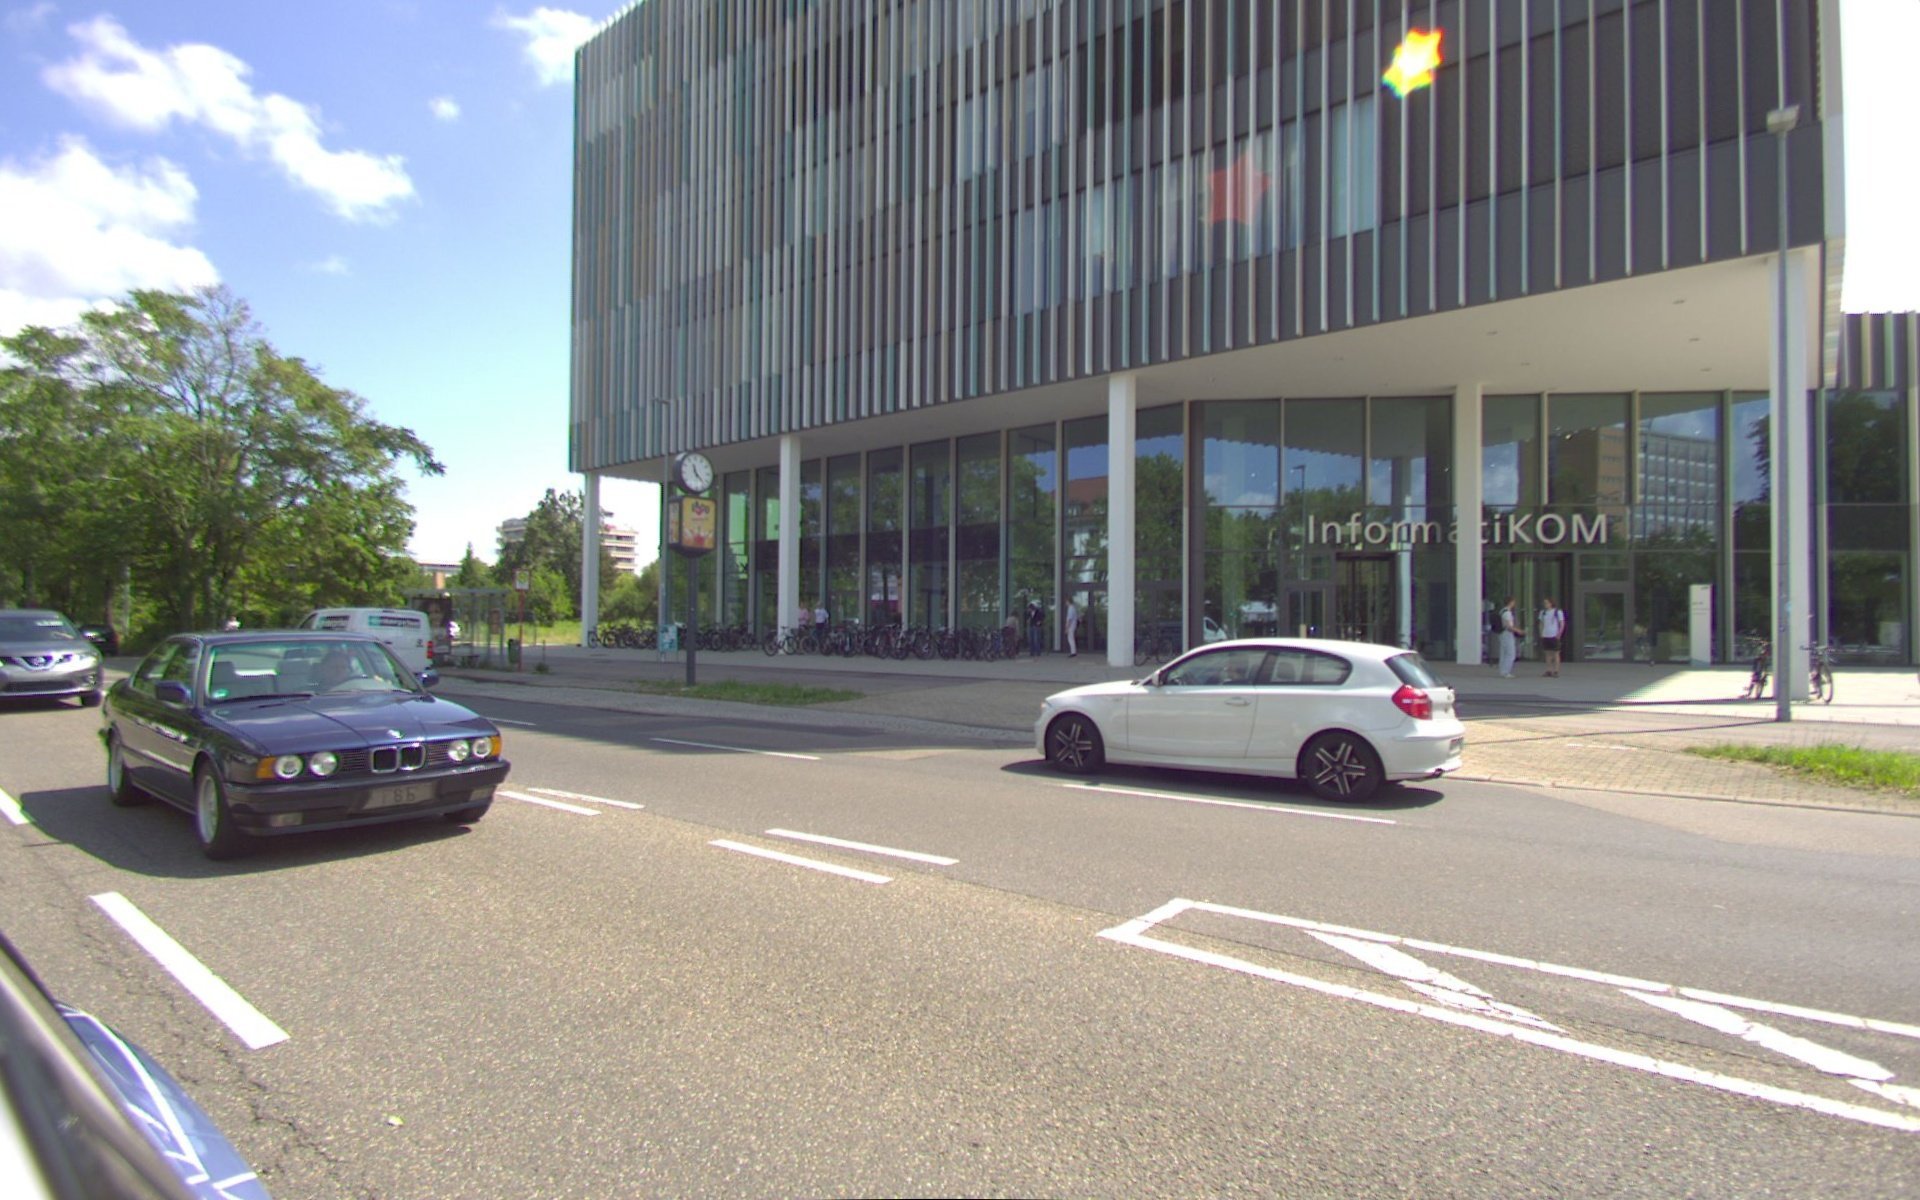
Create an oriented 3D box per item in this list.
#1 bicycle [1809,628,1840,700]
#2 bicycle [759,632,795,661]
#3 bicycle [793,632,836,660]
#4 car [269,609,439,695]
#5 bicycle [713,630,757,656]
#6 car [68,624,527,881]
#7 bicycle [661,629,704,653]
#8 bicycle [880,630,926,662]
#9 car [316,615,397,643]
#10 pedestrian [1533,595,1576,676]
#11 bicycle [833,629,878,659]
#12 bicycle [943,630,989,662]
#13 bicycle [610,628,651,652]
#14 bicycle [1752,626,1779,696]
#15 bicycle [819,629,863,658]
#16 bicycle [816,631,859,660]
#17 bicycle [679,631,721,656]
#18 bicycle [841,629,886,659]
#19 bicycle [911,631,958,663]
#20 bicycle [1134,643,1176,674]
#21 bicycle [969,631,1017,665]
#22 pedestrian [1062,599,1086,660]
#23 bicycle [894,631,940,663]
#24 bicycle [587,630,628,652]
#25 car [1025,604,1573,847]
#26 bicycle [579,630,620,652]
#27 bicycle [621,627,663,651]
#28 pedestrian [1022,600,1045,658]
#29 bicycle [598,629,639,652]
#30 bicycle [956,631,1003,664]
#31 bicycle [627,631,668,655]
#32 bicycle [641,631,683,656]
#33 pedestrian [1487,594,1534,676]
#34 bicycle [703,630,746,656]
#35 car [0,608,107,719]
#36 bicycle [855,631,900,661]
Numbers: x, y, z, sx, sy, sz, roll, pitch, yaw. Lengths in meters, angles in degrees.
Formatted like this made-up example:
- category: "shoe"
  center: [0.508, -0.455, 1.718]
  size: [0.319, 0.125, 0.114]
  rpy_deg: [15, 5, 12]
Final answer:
- category: "bicycle"
  center: [15.463, 1.119, 18.107]
  size: [0.373, 1.196, 1.526]
  rpy_deg: [0, 0, 39]
- category: "bicycle"
  center: [-6.562, 1.657, 36.377]
  size: [0.372, 0.962, 1.531]
  rpy_deg: [-1, -1, 29]
- category: "bicycle"
  center: [-5.261, 1.650, 36.616]
  size: [1.521, 0.962, 0.374]
  rpy_deg: [-1, -1, -35]
- category: "car"
  center: [-14.328, 1.215, 23.840]
  size: [4.726, 1.825, 1.879]
  rpy_deg: [-2, -4, 39]
- category: "bicycle"
  center: [-8.816, 1.687, 39.703]
  size: [0.433, 0.962, 1.761]
  rpy_deg: [-1, -1, 40]
- category: "car"
  center: [-5.236, 0.897, 7.717]
  size: [4.610, 1.397, 1.675]
  rpy_deg: [-1, -1, 40]
- category: "bicycle"
  center: [-11.488, 1.691, 41.948]
  size: [0.433, 0.962, 1.761]
  rpy_deg: [-1, -1, 40]
- category: "bicycle"
  center: [-1.878, 1.501, 33.221]
  size: [1.521, 0.962, 0.374]
  rpy_deg: [-1, -1, -35]
- category: "car"
  center: [-35.707, 1.675, 59.939]
  size: [3.771, 1.522, 1.901]
  rpy_deg: [-1, 0, -44]
- category: "pedestrian"
  center: [13.893, 0.817, 23.653]
  size: [0.680, 1.856, 0.679]
  rpy_deg: [1, -1, -42]
- category: "bicycle"
  center: [-3.618, 1.519, 35.061]
  size: [1.521, 0.962, 0.374]
  rpy_deg: [-1, -1, -35]
- category: "bicycle"
  center: [0.196, 1.446, 31.950]
  size: [1.521, 0.962, 0.374]
  rpy_deg: [-1, -1, -35]
- category: "bicycle"
  center: [-14.502, 1.752, 44.547]
  size: [0.433, 0.962, 1.761]
  rpy_deg: [-1, -1, 40]
- category: "bicycle"
  center: [14.807, 1.092, 18.605]
  size: [0.373, 1.196, 1.526]
  rpy_deg: [0, 0, 39]
- category: "bicycle"
  center: [-4.149, 1.524, 35.440]
  size: [1.521, 0.962, 0.374]
  rpy_deg: [-1, -1, -35]
- category: "bicycle"
  center: [-4.327, 1.605, 35.828]
  size: [1.521, 0.962, 0.374]
  rpy_deg: [-1, -1, -35]
- category: "bicycle"
  center: [-10.615, 1.767, 41.379]
  size: [0.433, 0.962, 1.761]
  rpy_deg: [-1, -1, 40]
- category: "bicycle"
  center: [-3.290, 1.511, 34.611]
  size: [1.521, 0.962, 0.374]
  rpy_deg: [-1, -1, -35]
- category: "bicycle"
  center: [-0.812, 1.509, 32.596]
  size: [1.521, 0.962, 0.374]
  rpy_deg: [-1, -1, -35]
- category: "bicycle"
  center: [5.396, 1.599, 28.000]
  size: [0.373, 0.782, 1.524]
  rpy_deg: [-1, -1, 44]
- category: "bicycle"
  center: [1.012, 1.457, 30.975]
  size: [1.521, 0.962, 0.374]
  rpy_deg: [-1, -1, -35]
- category: "pedestrian"
  center: [3.535, 0.910, 31.466]
  size: [0.553, 1.856, 0.556]
  rpy_deg: [-1, -1, 33]
- category: "bicycle"
  center: [-1.396, 1.506, 32.780]
  size: [1.521, 0.962, 0.374]
  rpy_deg: [-1, -1, -35]
- category: "bicycle"
  center: [-15.941, 1.845, 45.821]
  size: [0.433, 0.962, 1.761]
  rpy_deg: [-1, -1, 40]
- category: "car"
  center: [3.067, 1.011, 9.766]
  size: [4.724, 1.825, 1.709]
  rpy_deg: [-1, -3, 37]
- category: "bicycle"
  center: [-16.472, 1.866, 46.257]
  size: [0.433, 0.962, 1.761]
  rpy_deg: [-1, -1, 40]
- category: "bicycle"
  center: [-13.804, 1.698, 43.996]
  size: [0.433, 0.962, 1.761]
  rpy_deg: [-1, -1, 40]
- category: "pedestrian"
  center: [2.373, 0.942, 32.769]
  size: [0.553, 1.856, 0.556]
  rpy_deg: [-1, -1, 33]
- category: "bicycle"
  center: [-15.194, 1.804, 45.112]
  size: [0.433, 0.962, 1.761]
  rpy_deg: [-1, -1, 40]
- category: "bicycle"
  center: [0.604, 1.476, 31.412]
  size: [1.521, 0.962, 0.374]
  rpy_deg: [-1, -1, -35]
- category: "bicycle"
  center: [-13.427, 1.847, 43.526]
  size: [0.433, 0.962, 1.761]
  rpy_deg: [-1, -1, 40]
- category: "bicycle"
  center: [-12.600, 1.820, 42.782]
  size: [0.433, 0.962, 1.761]
  rpy_deg: [-1, -1, 40]
- category: "pedestrian"
  center: [12.741, 0.803, 23.431]
  size: [0.775, 1.856, 0.519]
  rpy_deg: [0, -1, -15]
- category: "bicycle"
  center: [-9.452, 1.708, 40.707]
  size: [0.433, 0.962, 1.761]
  rpy_deg: [-1, -1, 40]
- category: "car"
  center: [-16.311, 1.029, 17.428]
  size: [4.475, 1.691, 1.801]
  rpy_deg: [-1, -1, 41]
- category: "bicycle"
  center: [-2.761, 1.543, 33.985]
  size: [1.521, 0.962, 0.374]
  rpy_deg: [-1, -1, -35]
